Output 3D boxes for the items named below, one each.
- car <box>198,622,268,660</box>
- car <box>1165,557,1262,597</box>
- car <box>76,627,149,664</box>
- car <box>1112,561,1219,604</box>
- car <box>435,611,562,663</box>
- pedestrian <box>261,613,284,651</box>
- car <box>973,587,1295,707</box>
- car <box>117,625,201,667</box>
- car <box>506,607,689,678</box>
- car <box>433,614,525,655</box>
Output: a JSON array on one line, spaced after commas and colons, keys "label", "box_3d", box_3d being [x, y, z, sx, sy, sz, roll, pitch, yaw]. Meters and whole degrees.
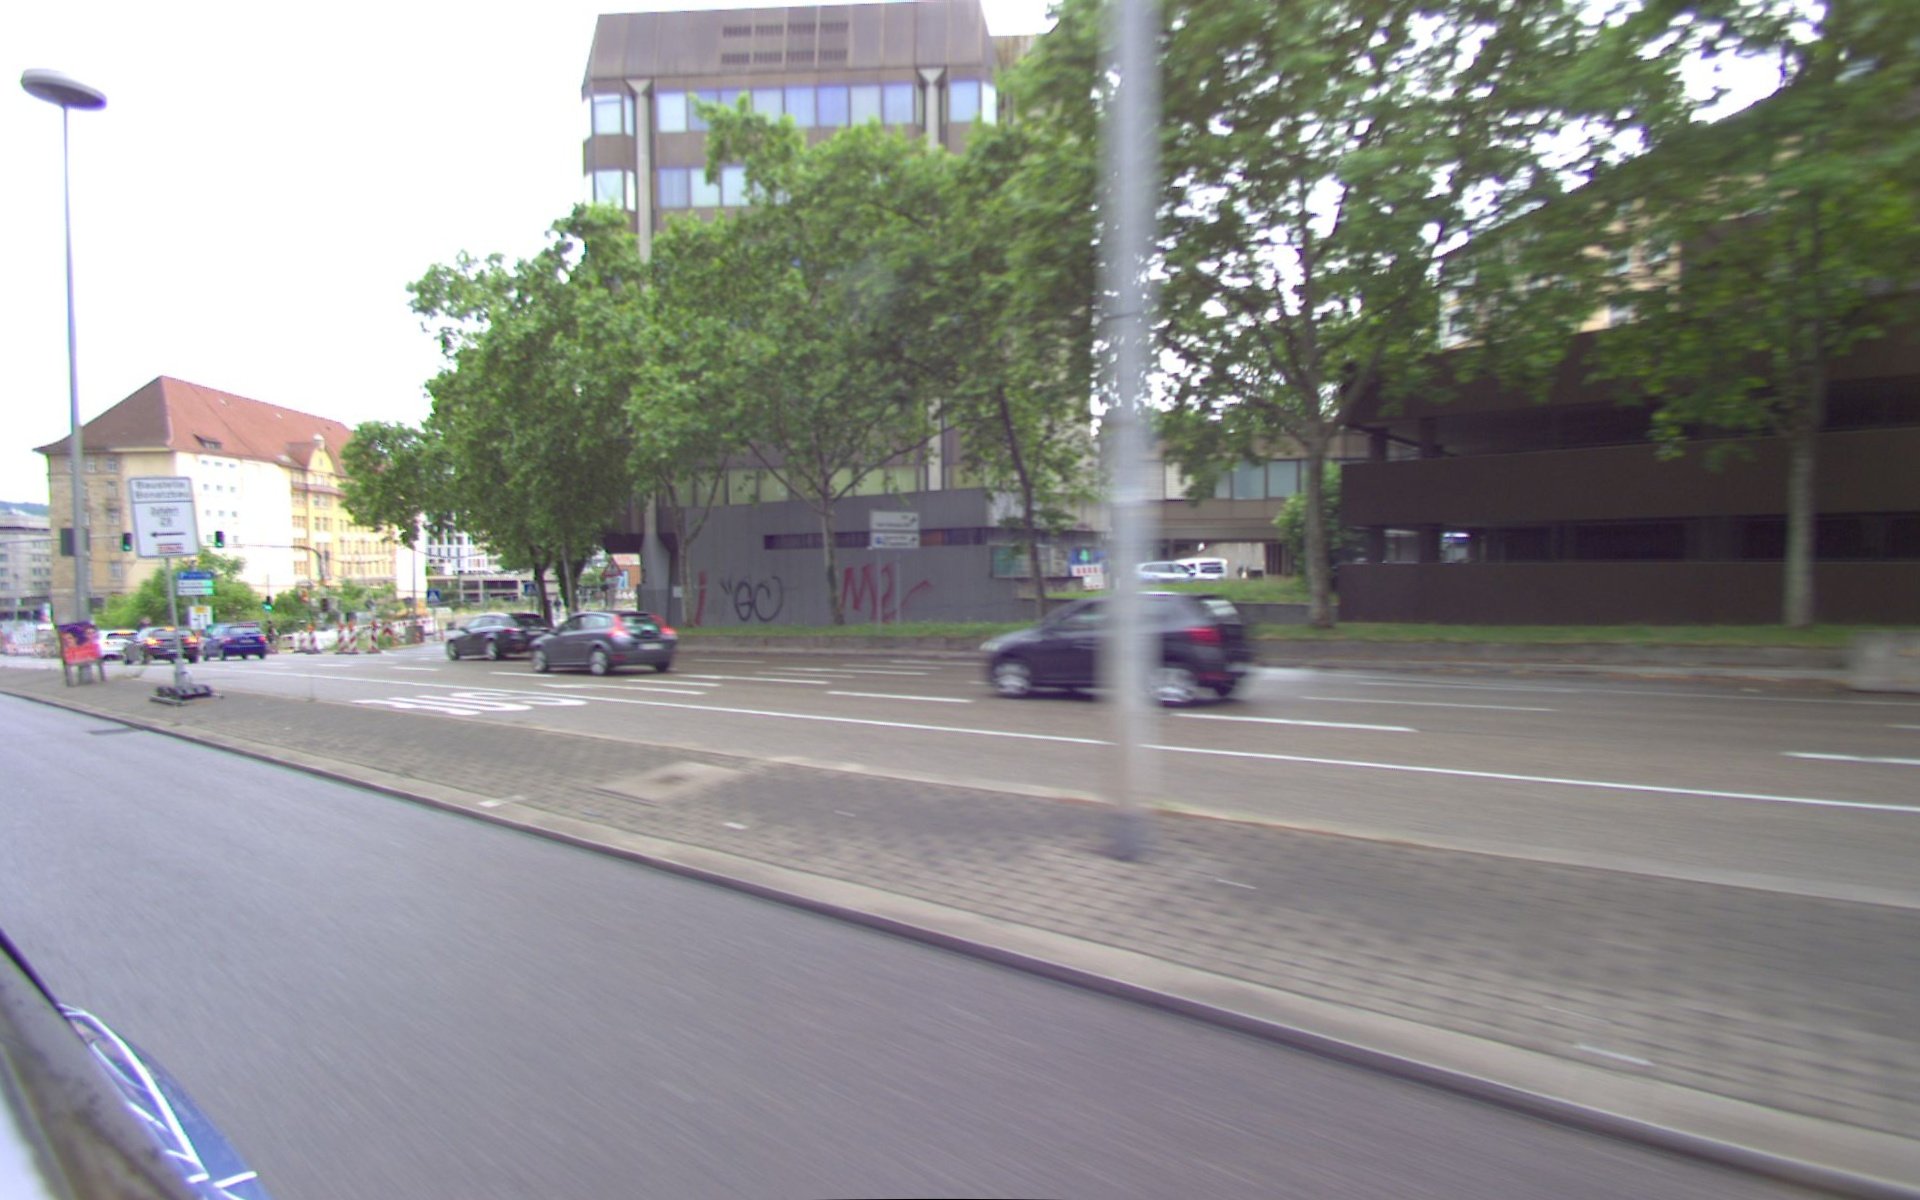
[{"label": "car", "box_3d": [-31.349, 1.768, 43.605, 3.437, 1.497, 1.775, -3, -1, 42]}, {"label": "car", "box_3d": [11.775, -1.085, 47.000, 3.931, 1.730, 2.006, -2, 0, -26]}, {"label": "car", "box_3d": [-37.019, 1.959, 44.164, 3.860, 1.497, 1.776, -1, 0, 40]}, {"label": "car", "box_3d": [8.659, -0.724, 42.747, 3.936, 1.730, 2.004, -1, 0, -8]}, {"label": "car", "box_3d": [-14.698, 1.147, 32.122, 4.502, 1.511, 1.914, -2, -1, 40]}, {"label": "pedestrian", "box_3d": [-38.077, 1.765, 56.073, 0.656, 2.029, 0.808, -1, 0, 9]}, {"label": "car", "box_3d": [2.367, 0.608, 14.280, 4.071, 1.447, 1.914, -2, -1, 39]}, {"label": "car", "box_3d": [-31.185, 1.743, 39.362, 3.860, 1.497, 1.776, -2, 0, 40]}, {"label": "car", "box_3d": [-8.360, 0.936, 23.156, 4.502, 1.447, 1.914, -2, -1, 40]}, {"label": "car", "box_3d": [-18.603, 1.344, 39.078, 3.760, 1.497, 1.776, -3, -1, 39]}]
